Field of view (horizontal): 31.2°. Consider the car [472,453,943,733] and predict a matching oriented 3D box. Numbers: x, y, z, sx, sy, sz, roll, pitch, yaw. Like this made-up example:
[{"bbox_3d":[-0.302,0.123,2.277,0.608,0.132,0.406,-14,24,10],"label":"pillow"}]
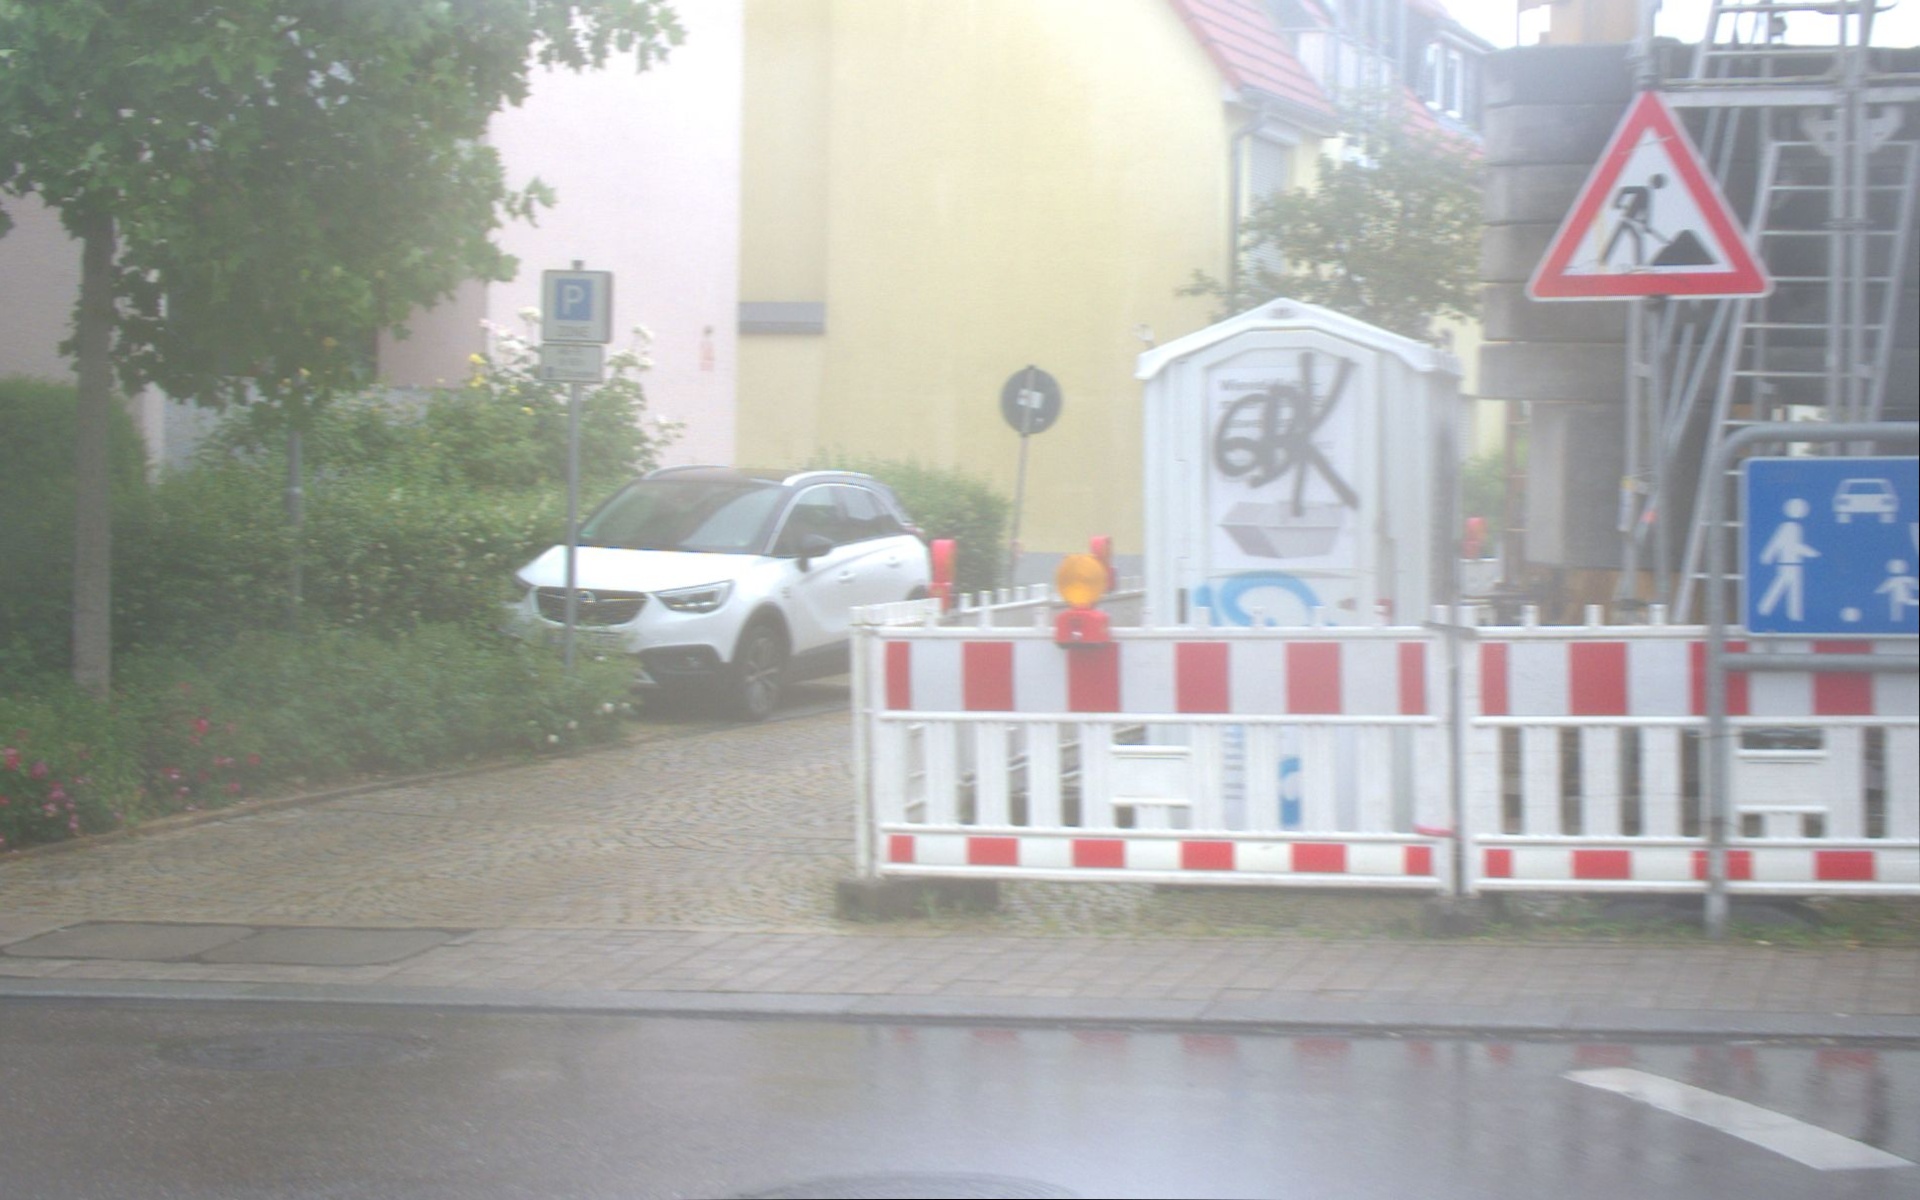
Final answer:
[{"bbox_3d":[-1.598,-0.127,23.160,1.602,1.672,3.934,3,3,21],"label":"car"}]
